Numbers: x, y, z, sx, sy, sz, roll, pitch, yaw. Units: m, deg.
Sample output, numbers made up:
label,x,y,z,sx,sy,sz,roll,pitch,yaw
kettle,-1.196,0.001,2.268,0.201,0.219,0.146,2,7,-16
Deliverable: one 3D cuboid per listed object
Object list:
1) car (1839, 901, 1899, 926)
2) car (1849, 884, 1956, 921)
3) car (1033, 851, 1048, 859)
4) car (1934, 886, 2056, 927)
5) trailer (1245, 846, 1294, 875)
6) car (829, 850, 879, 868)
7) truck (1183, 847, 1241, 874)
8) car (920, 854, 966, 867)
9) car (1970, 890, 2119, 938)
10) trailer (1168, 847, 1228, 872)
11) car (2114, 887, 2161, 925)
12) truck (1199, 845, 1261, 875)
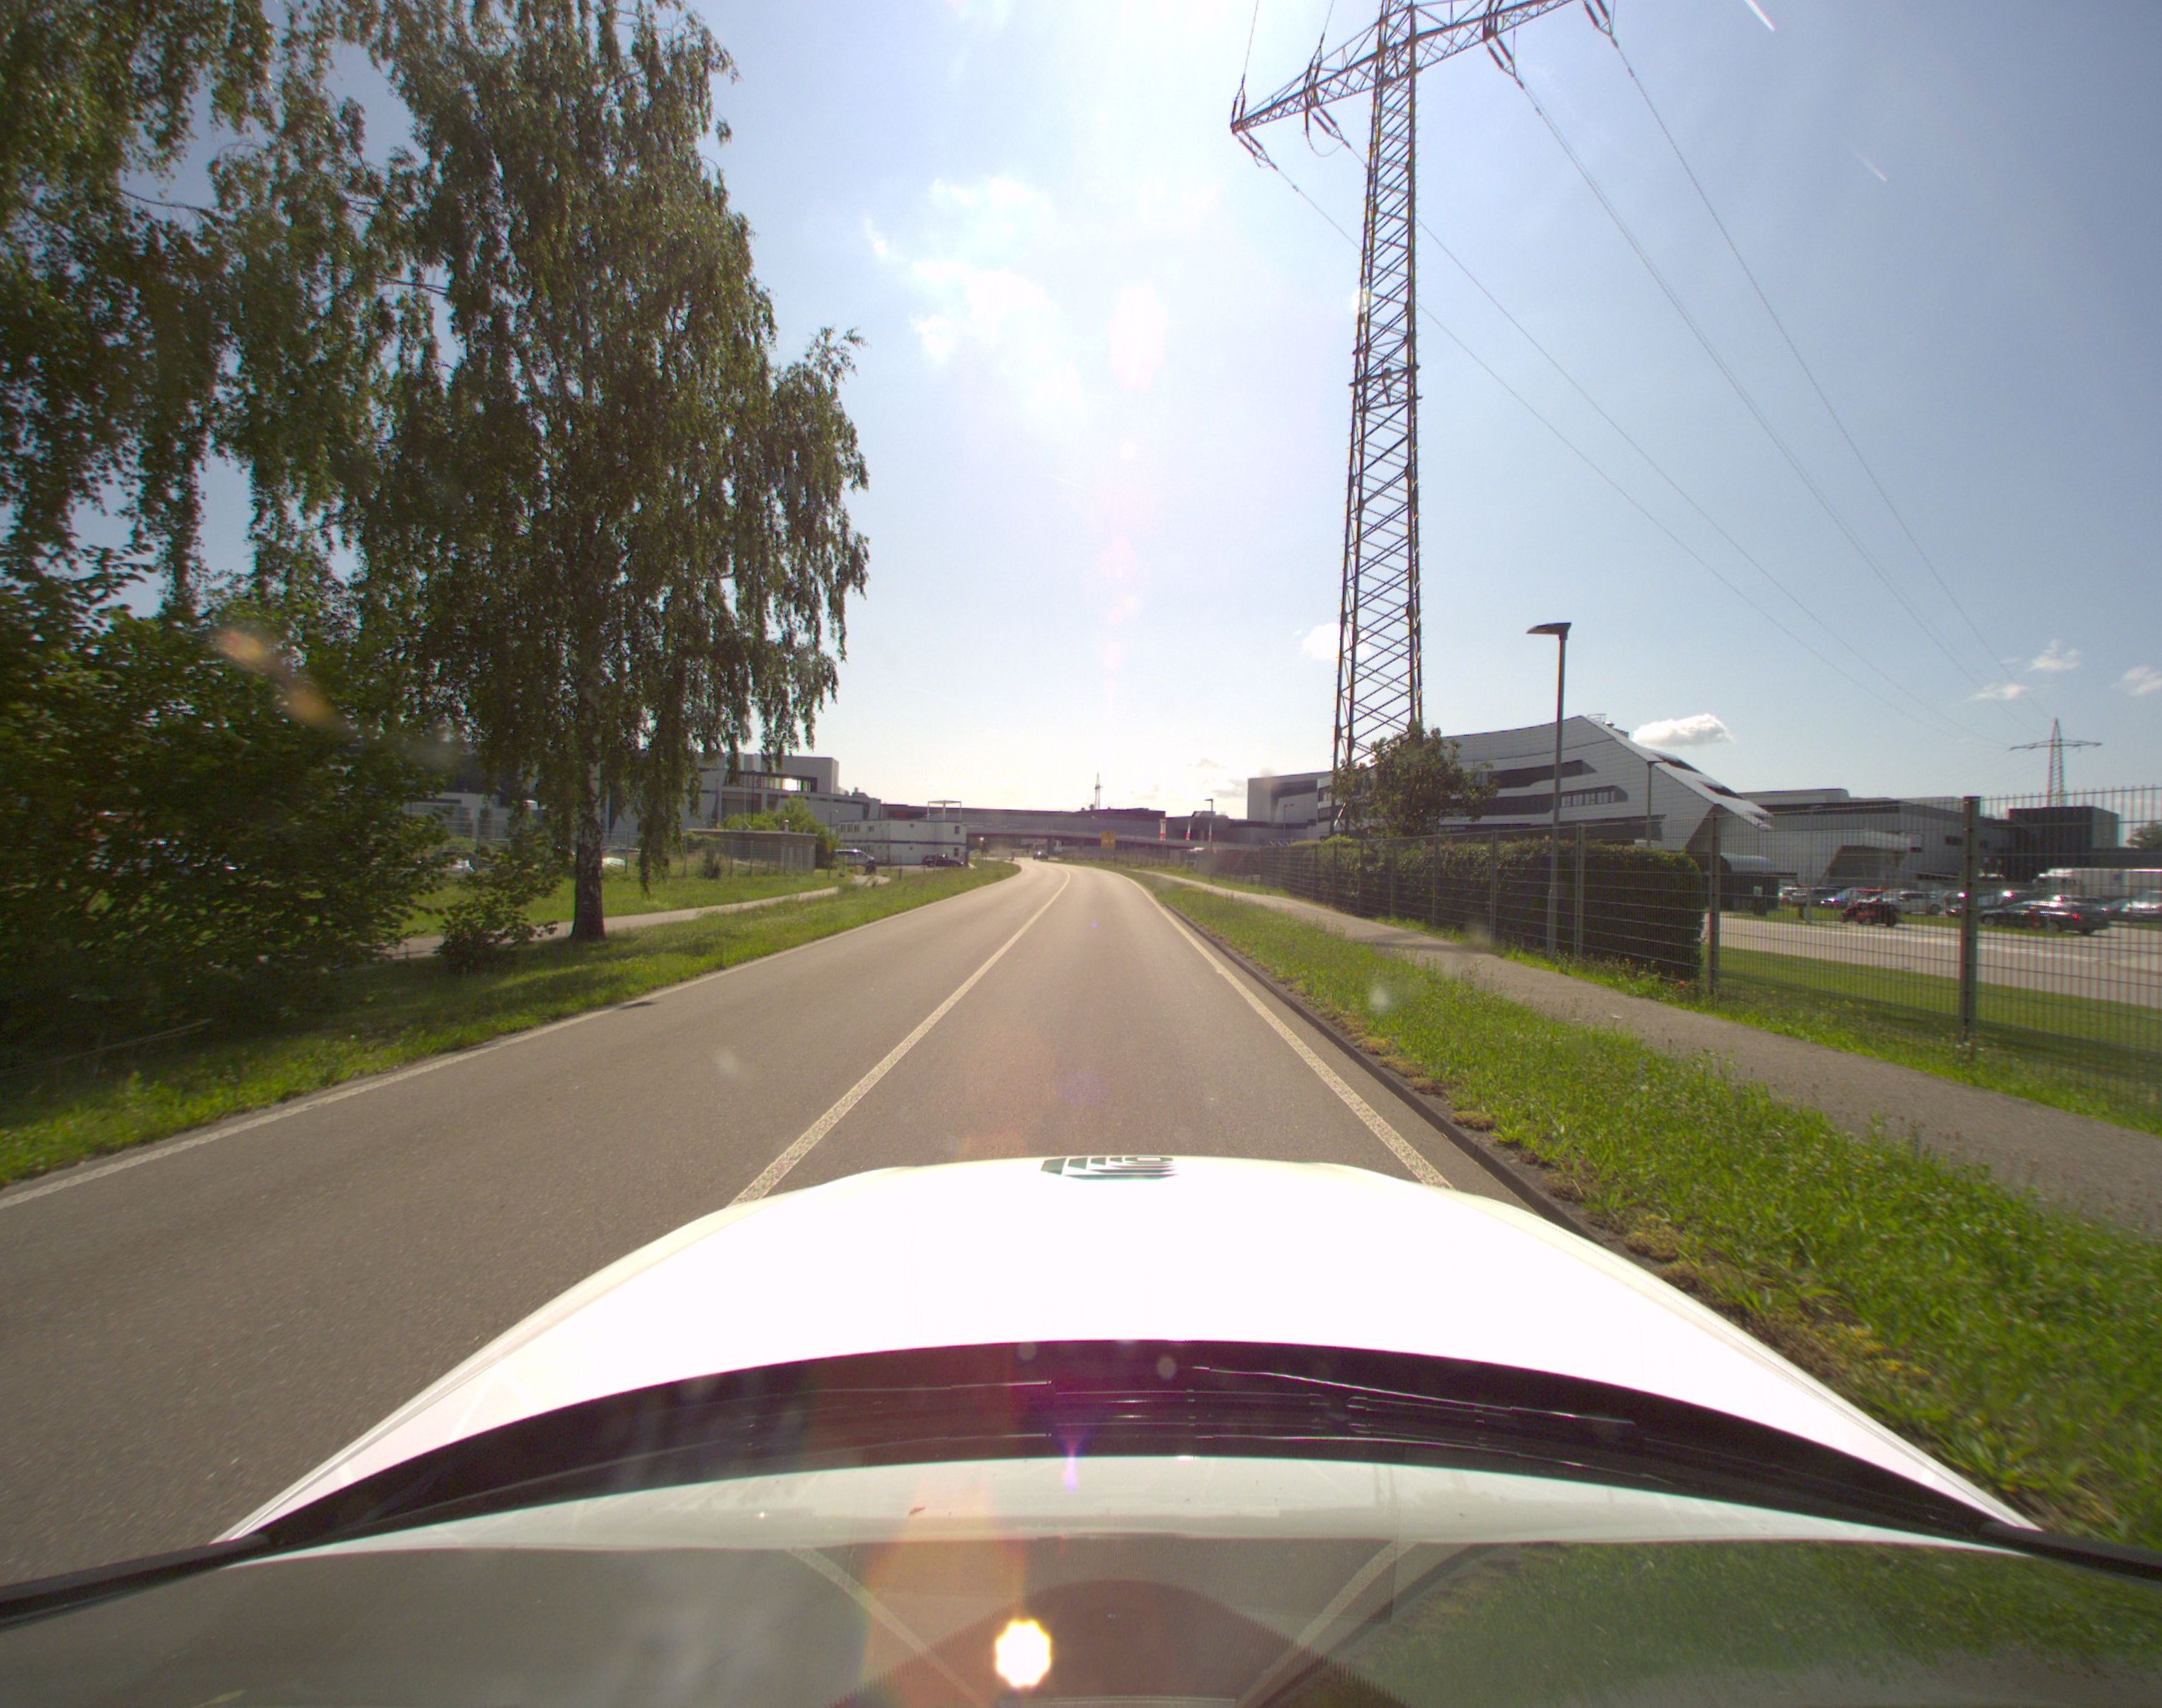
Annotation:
label,x,y,z,sx,sy,sz,roll,pitch,yaw
car,41.326,3.085,42.755,1.189,1.154,2.199,0,0,6
car,51.959,3.044,51.580,4.722,2.013,2.000,2,0,0
car,-7.821,0.278,157.064,1.982,1.544,4.010,0,0,9
car,52.341,3.009,46.695,4.722,2.013,2.000,2,0,0
trailer,29.726,1.023,127.936,8.761,4.296,2.993,1,-1,-41
car,-25.742,0.550,92.485,5.045,1.866,1.977,2,0,-38
truck,21.100,0.968,130.427,11.032,4.172,2.789,0,-1,-41
car,-15.998,0.785,94.324,4.982,1.417,1.988,1,0,-18
car,48.382,2.959,41.073,1.986,2.013,4.755,2,0,2
trailer,22.155,1.038,153.073,14.139,4.438,2.733,0,-1,-42
car,62.659,3.028,46.540,4.722,2.013,2.000,2,0,0
truck,22.355,0.946,121.380,11.033,4.256,2.992,0,-1,-42
